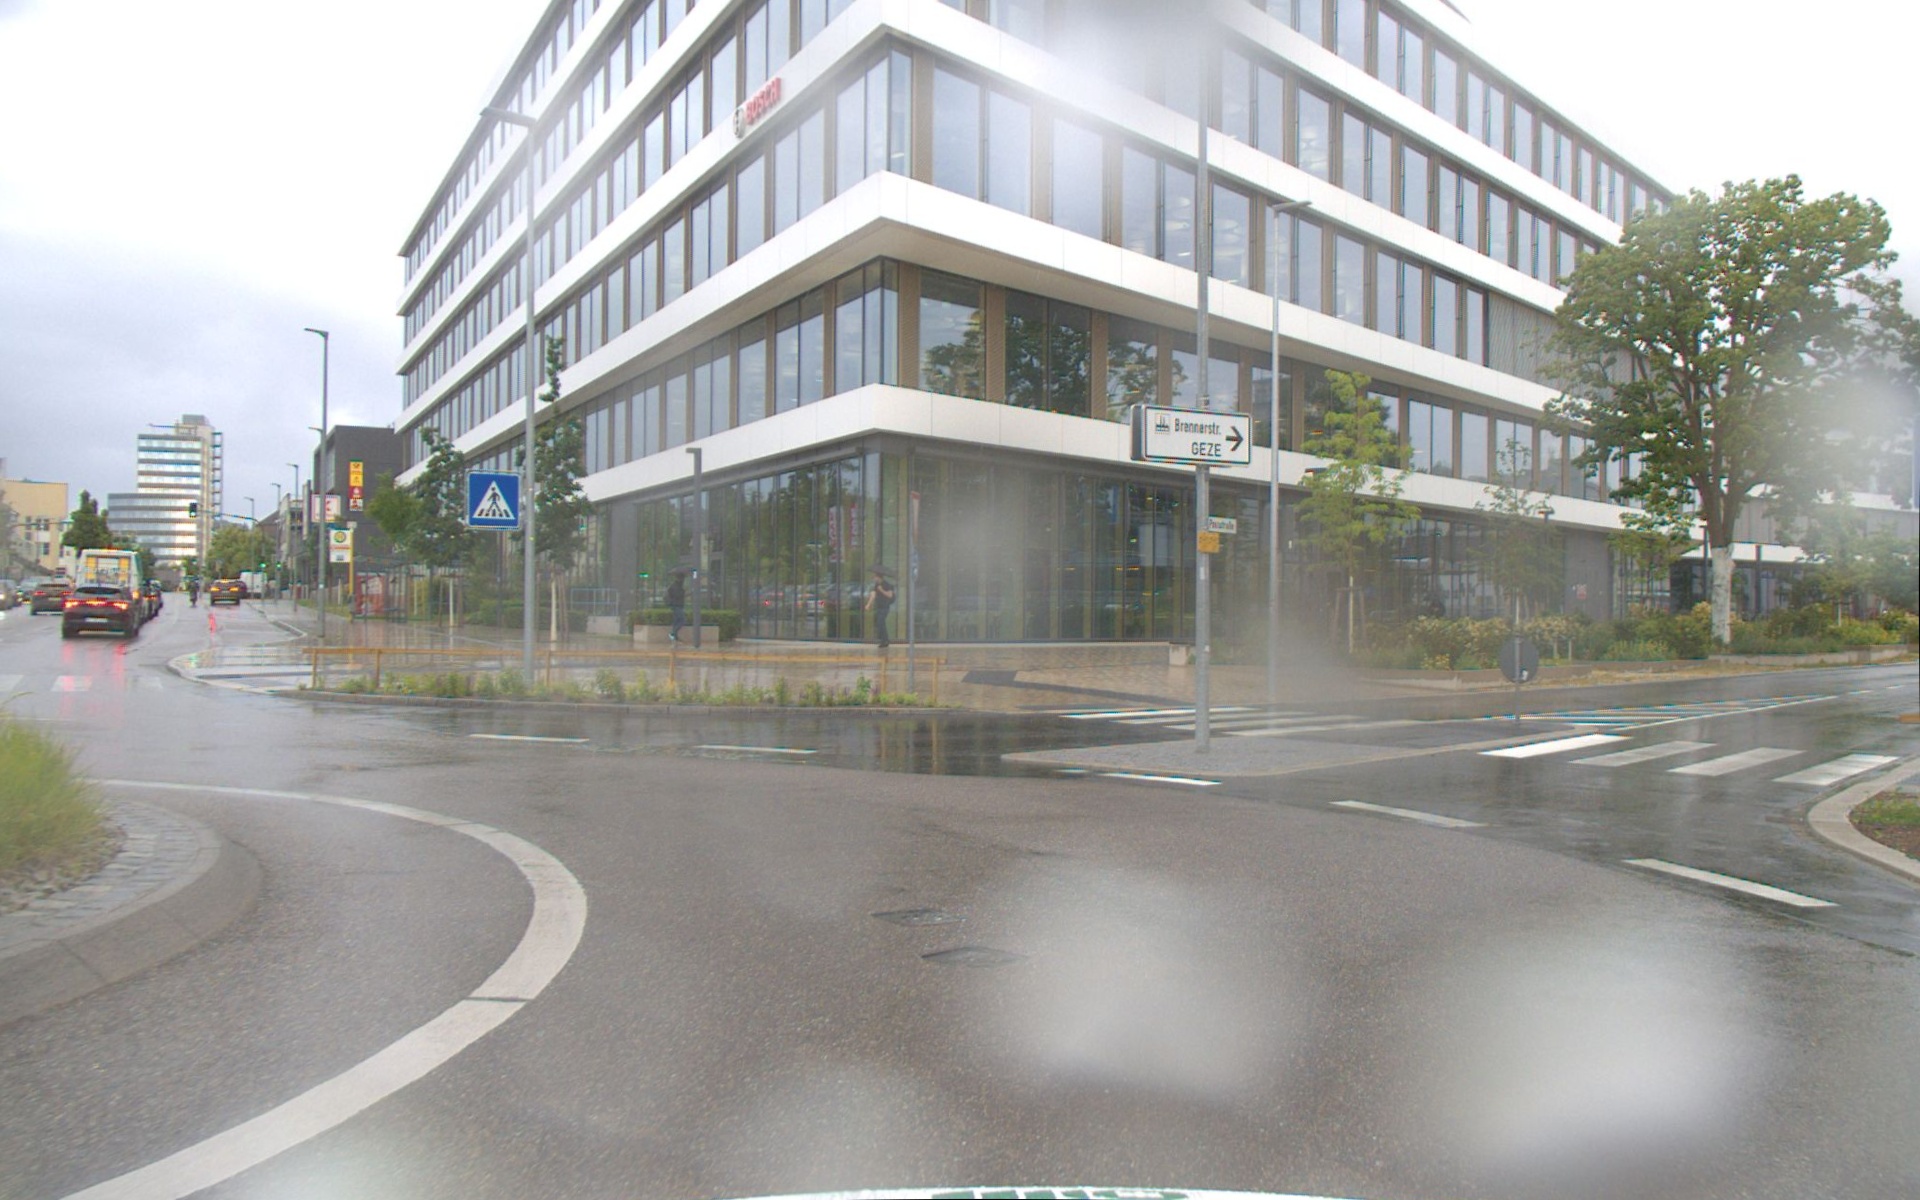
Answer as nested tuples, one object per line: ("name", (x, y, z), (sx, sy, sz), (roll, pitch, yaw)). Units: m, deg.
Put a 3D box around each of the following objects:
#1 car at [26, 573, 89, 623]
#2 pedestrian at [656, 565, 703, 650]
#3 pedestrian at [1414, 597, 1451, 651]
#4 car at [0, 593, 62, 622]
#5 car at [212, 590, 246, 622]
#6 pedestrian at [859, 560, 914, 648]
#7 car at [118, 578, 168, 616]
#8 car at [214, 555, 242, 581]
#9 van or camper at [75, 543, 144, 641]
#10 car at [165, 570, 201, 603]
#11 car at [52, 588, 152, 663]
("car", (-39.750, -0.107, 72.927), (1.967, 1.891, 3.973), (4, 1, -23))
("pedestrian", (-7.353, 0.196, 43.359), (0.989, 2.183, 0.925), (1, 0, -23))
("pedestrian", (16.010, 0.807, 56.049), (0.714, 1.733, 0.950), (5, 1, 44))
("car", (-47.325, 0.367, 82.898), (1.951, 1.422, 4.003), (1, 0, 12))
("car", (-50.554, 0.374, 114.448), (1.967, 1.891, 3.973), (4, 1, -23))
("pedestrian", (-1.745, 0.099, 39.199), (0.876, 2.049, 0.928), (1, 0, 37))
("car", (-38.269, -0.142, 77.523), (1.969, 1.646, 3.968), (2, 0, -26))
("car", (-60.854, -2.671, 137.546), (1.967, 1.891, 3.973), (4, 1, -23))
("van or camper", (-28.941, -0.334, 56.332), (1.970, 3.141, 5.057), (1, 2, -27))
("car", (-52.176, -0.913, 111.097), (1.966, 2.048, 3.974), (0, 2, -22))
("car", (-23.679, 0.676, 45.765), (1.965, 1.757, 3.976), (2, 2, -21))
